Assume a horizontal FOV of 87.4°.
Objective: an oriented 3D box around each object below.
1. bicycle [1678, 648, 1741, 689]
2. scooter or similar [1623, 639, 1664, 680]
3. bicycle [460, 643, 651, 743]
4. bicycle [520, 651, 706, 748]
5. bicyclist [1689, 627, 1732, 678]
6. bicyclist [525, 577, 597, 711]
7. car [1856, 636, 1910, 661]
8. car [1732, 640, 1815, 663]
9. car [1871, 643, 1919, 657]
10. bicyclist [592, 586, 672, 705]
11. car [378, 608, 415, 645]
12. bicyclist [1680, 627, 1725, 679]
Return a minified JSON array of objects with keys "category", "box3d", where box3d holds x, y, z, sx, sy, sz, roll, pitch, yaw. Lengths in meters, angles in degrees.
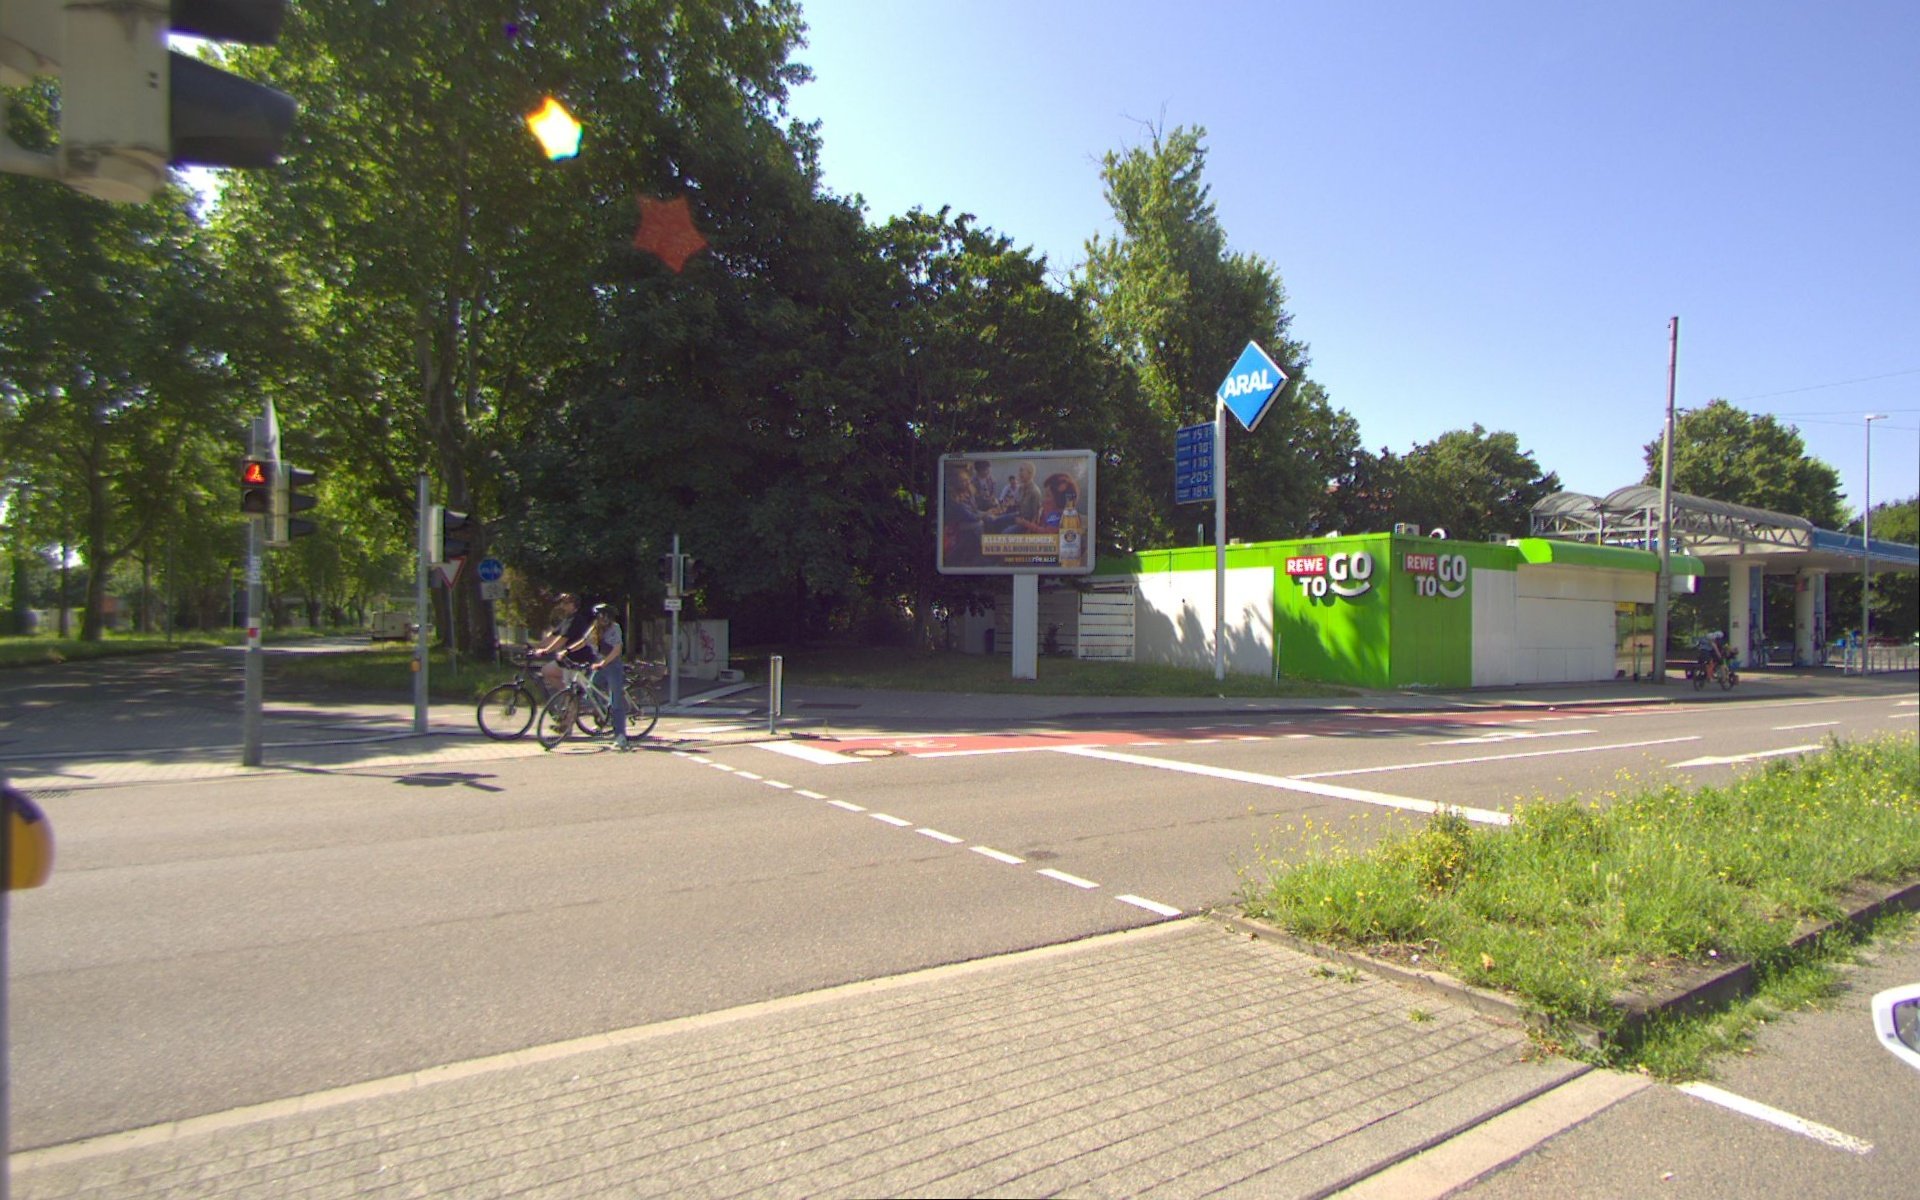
[{"category":"bicycle","box3d":[22.064,1.997,29.553,2.748,1.109,0.819,2,-2,-38]},{"category":"scooter or similar","box3d":[21.373,1.865,31.410,1.327,1.253,0.440,1,-1,-24]},{"category":"bicycle","box3d":[-5.285,1.165,13.159,2.187,1.190,0.932,1,-2,-32]},{"category":"bicycle","box3d":[-4.273,1.190,12.490,2.060,1.072,0.743,2,-2,-43]},{"category":"bicyclist","box3d":[22.104,1.540,29.580,0.825,1.454,0.841,1,-2,-38]},{"category":"bicyclist","box3d":[-5.292,0.559,13.297,0.816,1.696,0.832,0,0,-27]},{"category":"car","box3d":[65.709,3.429,71.494,4.470,1.591,1.789,0,-1,-34]},{"category":"car","box3d":[51.167,3.209,63.187,4.167,1.363,1.802,1,-2,-10]},{"category":"car","box3d":[88.124,4.651,94.263,1.552,1.221,3.644,1,-2,-22]},{"category":"bicyclist","box3d":[-4.112,0.548,12.589,0.734,1.439,0.701,0,1,-42]},{"category":"car","box3d":[-36.754,1.722,65.627,1.975,2.347,4.625,1,-1,-28]},{"category":"bicyclist","box3d":[21.550,1.519,29.151,0.825,1.455,0.841,0,0,-37]}]
